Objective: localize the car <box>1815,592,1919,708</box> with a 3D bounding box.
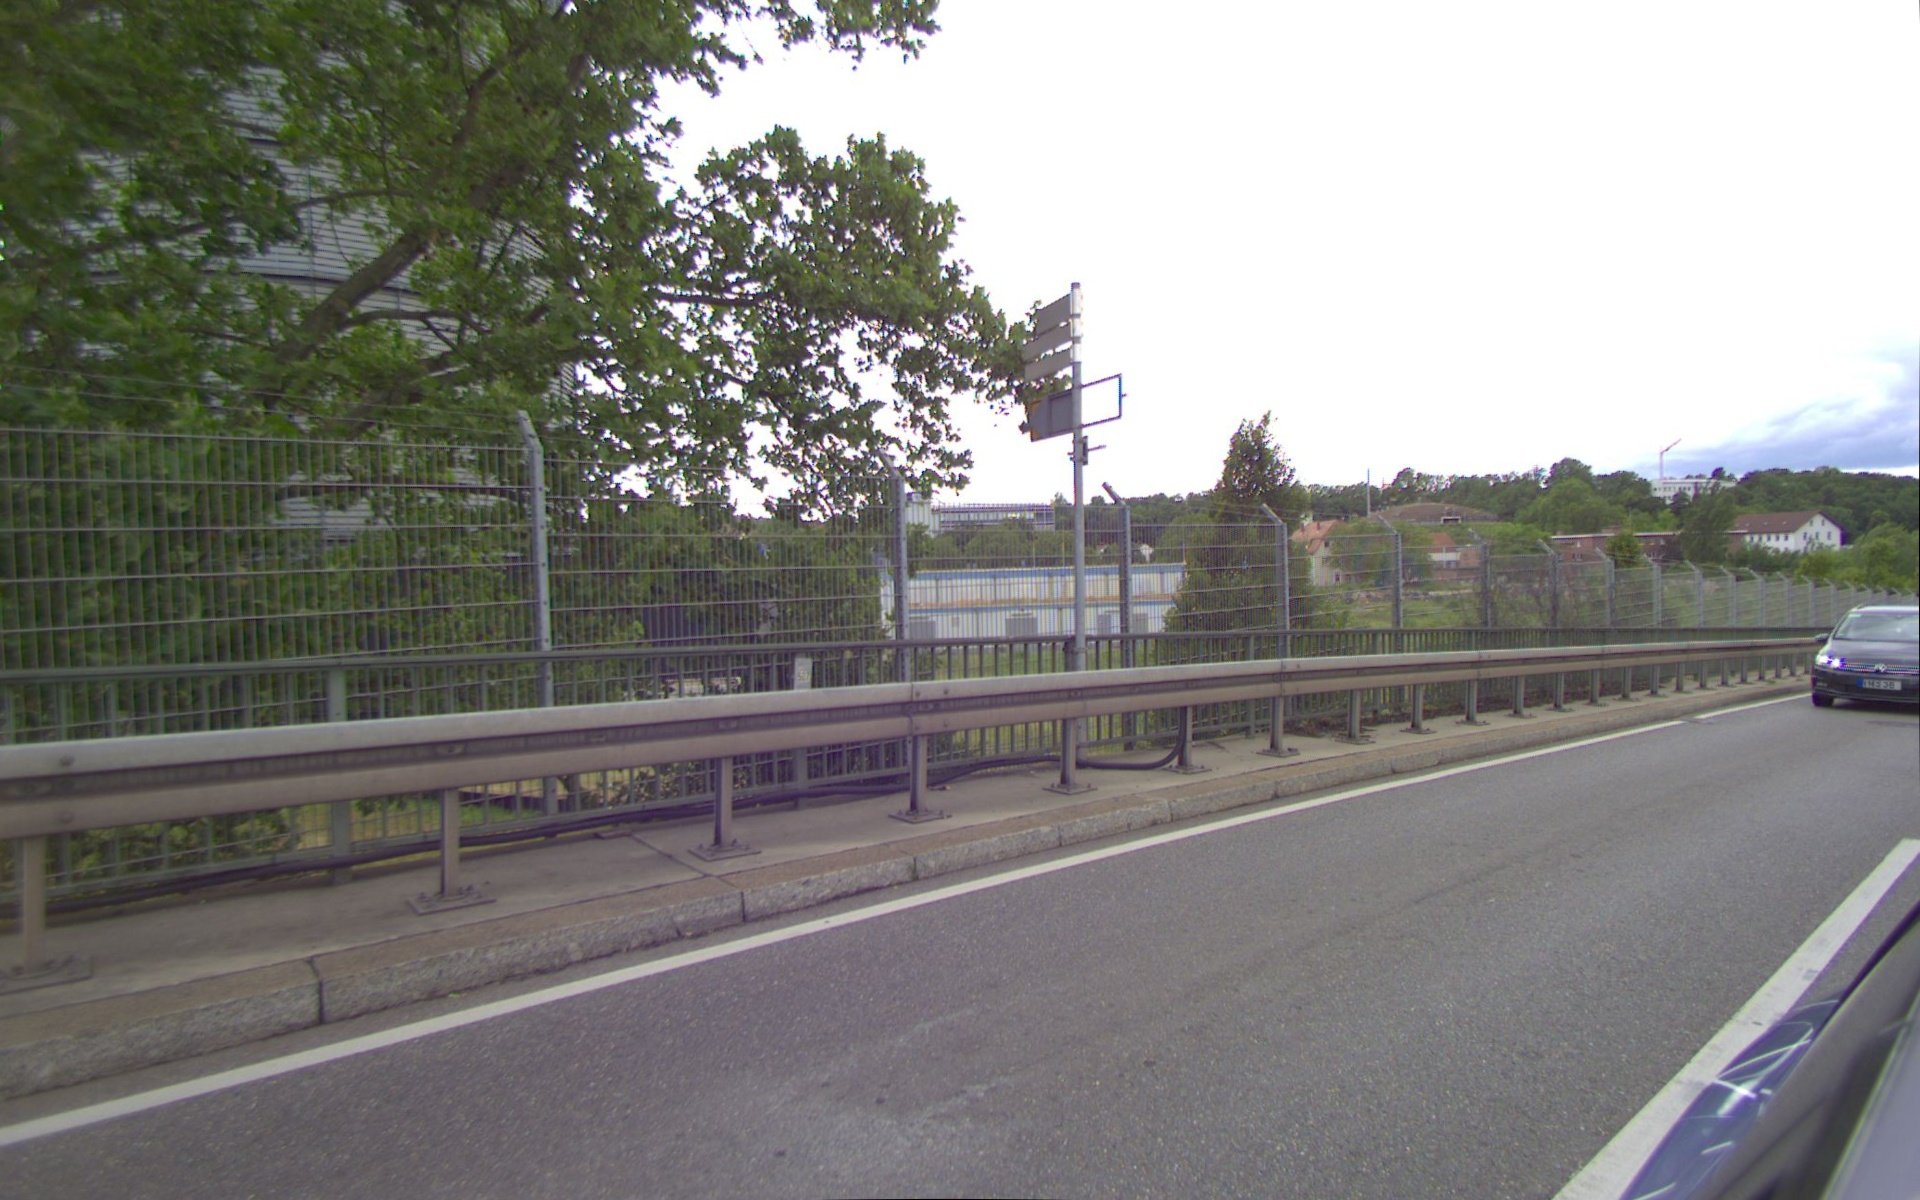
[{"bbox_3d":[15.270,0.737,16.117,4.075,1.674,1.800,1,0,-39],"label":"car"}]
